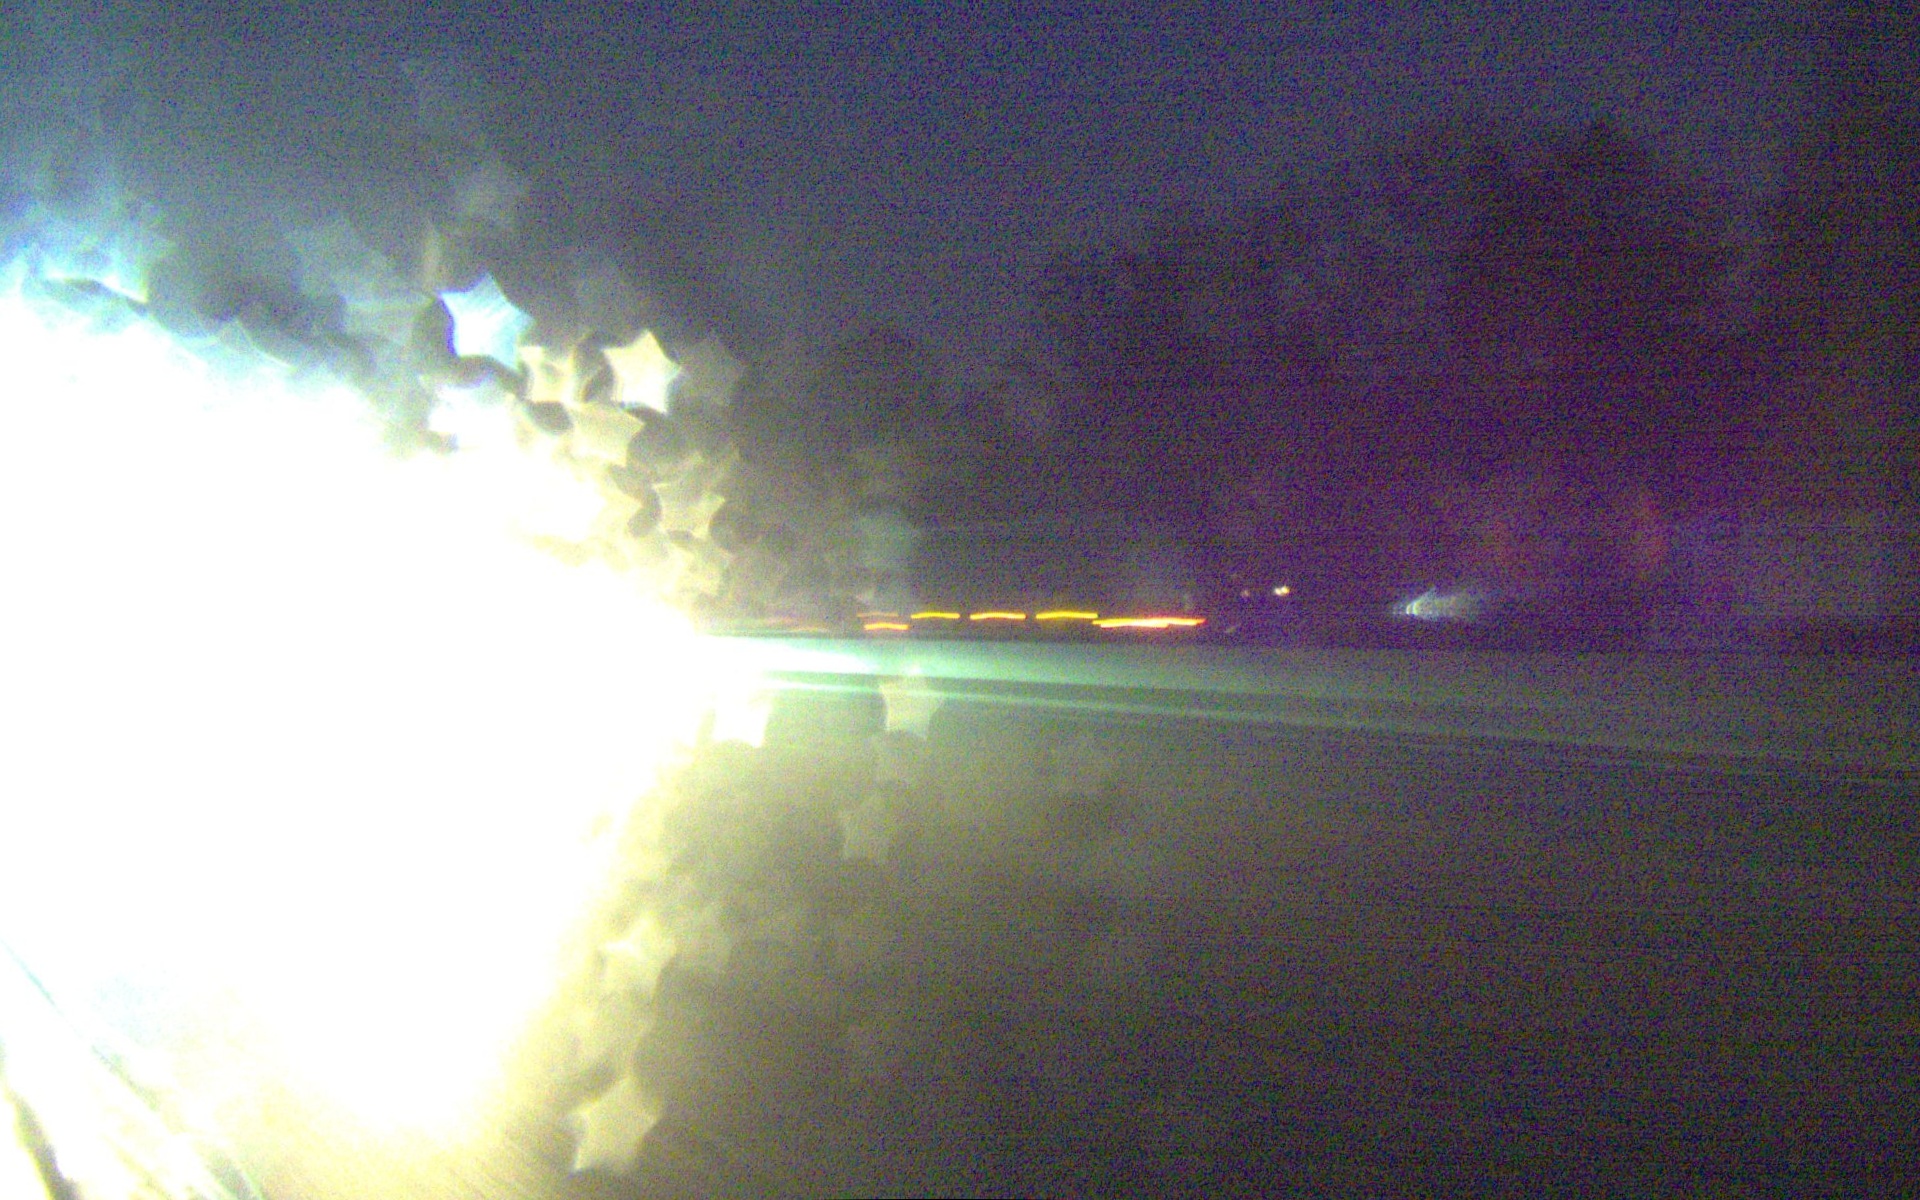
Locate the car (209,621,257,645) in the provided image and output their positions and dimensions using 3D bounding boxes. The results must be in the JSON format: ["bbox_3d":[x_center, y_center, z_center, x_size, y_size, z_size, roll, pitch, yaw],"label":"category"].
[{"bbox_3d":[-55.675,2.509,77.462,4.673,1.608,1.973,-1,2,42],"label":"car"}]

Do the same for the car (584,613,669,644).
[{"bbox_3d":[-13.893,1.168,42.127,3.656,1.164,1.685,-1,0,40],"label":"car"}]

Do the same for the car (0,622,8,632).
[{"bbox_3d":[-148.290,4.214,156.132,1.971,1.397,4.003,-4,2,-44],"label":"car"}]

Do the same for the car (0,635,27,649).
[{"bbox_3d":[-83.206,3.681,88.979,1.669,1.165,3.423,-2,0,-43],"label":"car"}]

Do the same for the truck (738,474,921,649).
[{"bbox_3d":[-5.107,-1.440,39.095,6.171,6.172,3.427,-1,4,42],"label":"truck"}]

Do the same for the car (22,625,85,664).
[{"bbox_3d":[-42.912,2.075,47.864,4.002,1.689,1.971,-1,0,45],"label":"car"}]

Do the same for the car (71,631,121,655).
[{"bbox_3d":[-63.204,3.104,73.993,3.870,1.621,2.280,-1,0,42],"label":"car"}]

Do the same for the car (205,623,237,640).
[{"bbox_3d":[-78.298,3.311,107.266,1.971,1.608,5.024,-4,2,-44],"label":"car"}]

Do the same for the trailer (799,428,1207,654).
[{"bbox_3d":[0.742,-1.608,33.739,14.405,6.172,3.427,-1,4,42],"label":"trailer"}]

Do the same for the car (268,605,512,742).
[{"bbox_3d":[-8.201,0.917,14.388,4.235,1.606,1.894,-1,0,44],"label":"car"}]

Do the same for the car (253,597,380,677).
[{"bbox_3d":[-18.288,0.999,28.671,2.113,2.029,4.532,-2,0,-44],"label":"car"}]

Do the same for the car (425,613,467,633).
[{"bbox_3d":[-40.239,1.788,79.157,1.755,1.482,3.988,-4,2,-44],"label":"car"}]

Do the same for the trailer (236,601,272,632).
[{"bbox_3d":[-119.443,2.777,171.146,3.225,5.106,13.988,-1,0,-42],"label":"trailer"}]
